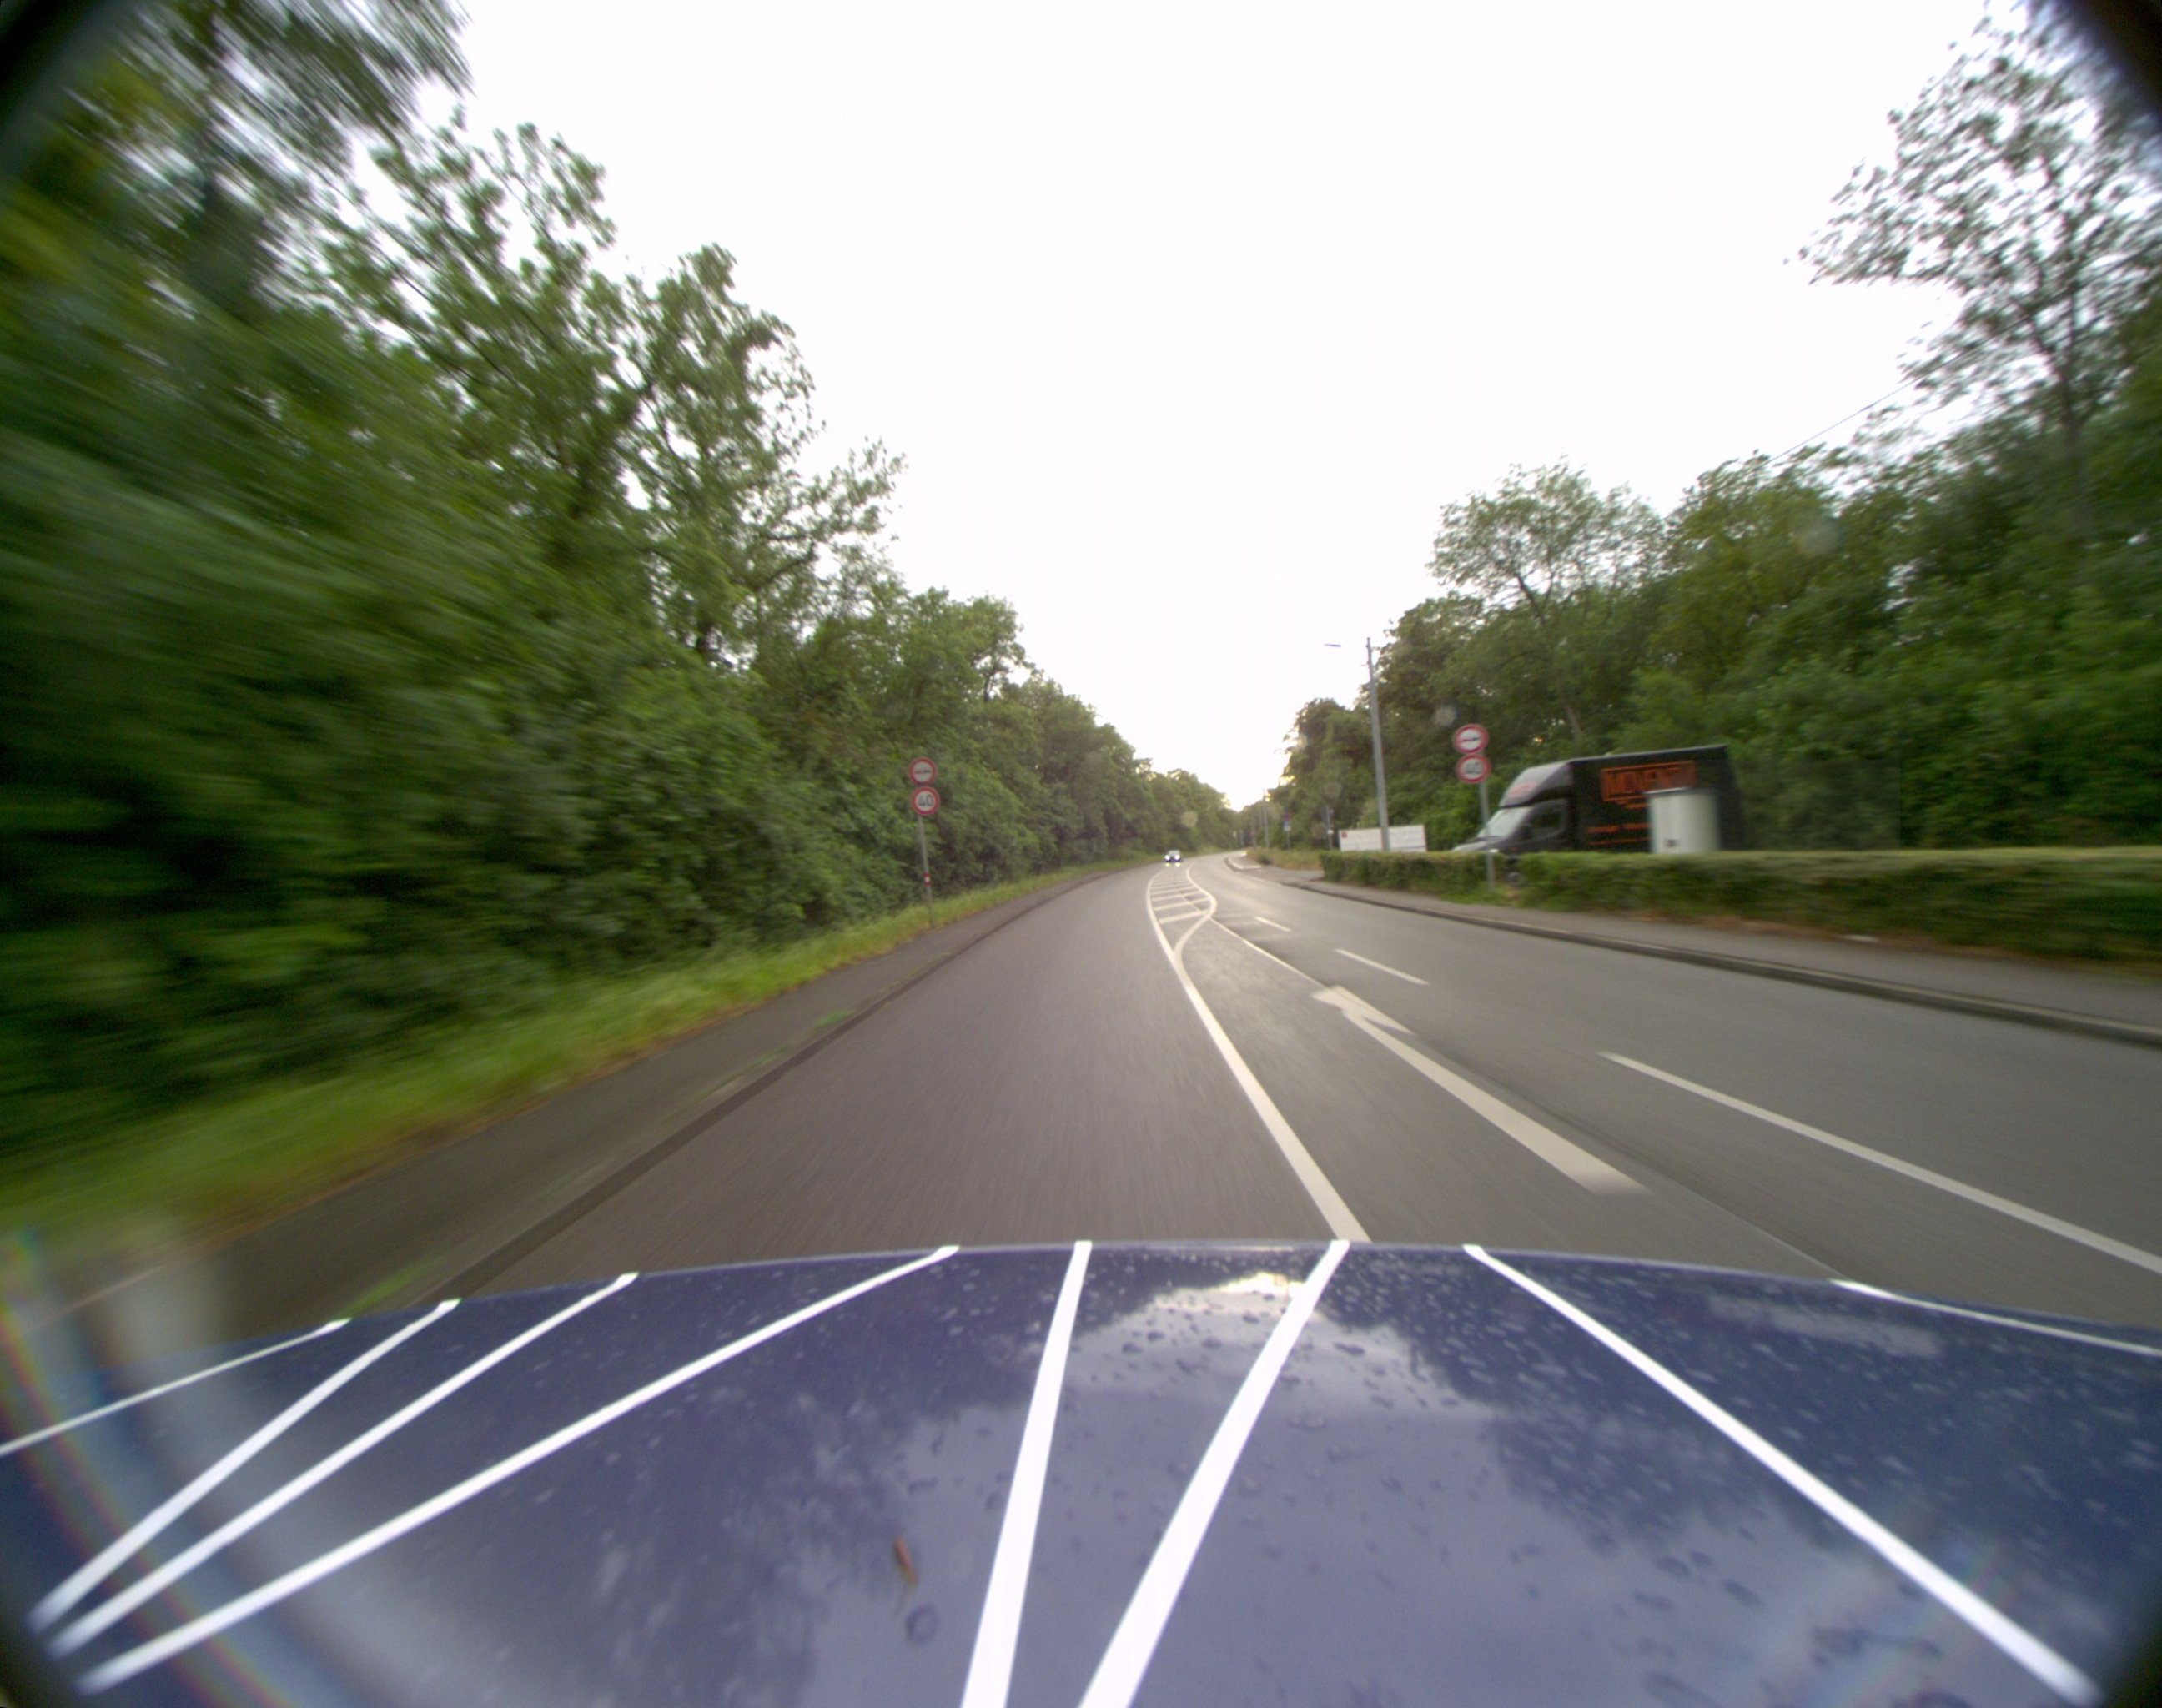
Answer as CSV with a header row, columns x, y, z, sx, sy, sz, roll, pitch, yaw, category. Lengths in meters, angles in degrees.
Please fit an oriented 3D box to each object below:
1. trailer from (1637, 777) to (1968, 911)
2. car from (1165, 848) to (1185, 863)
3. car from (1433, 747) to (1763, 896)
x,y,z,sx,sy,sz,roll,pitch,yaw,category
12.708,-0.164,13.613,3.996,2.041,1.873,-3,1,3,trailer
11.471,0.170,92.245,1.997,1.674,4.003,-3,1,12,car
12.679,-0.775,19.051,6.288,3.095,2.751,-4,1,0,car
